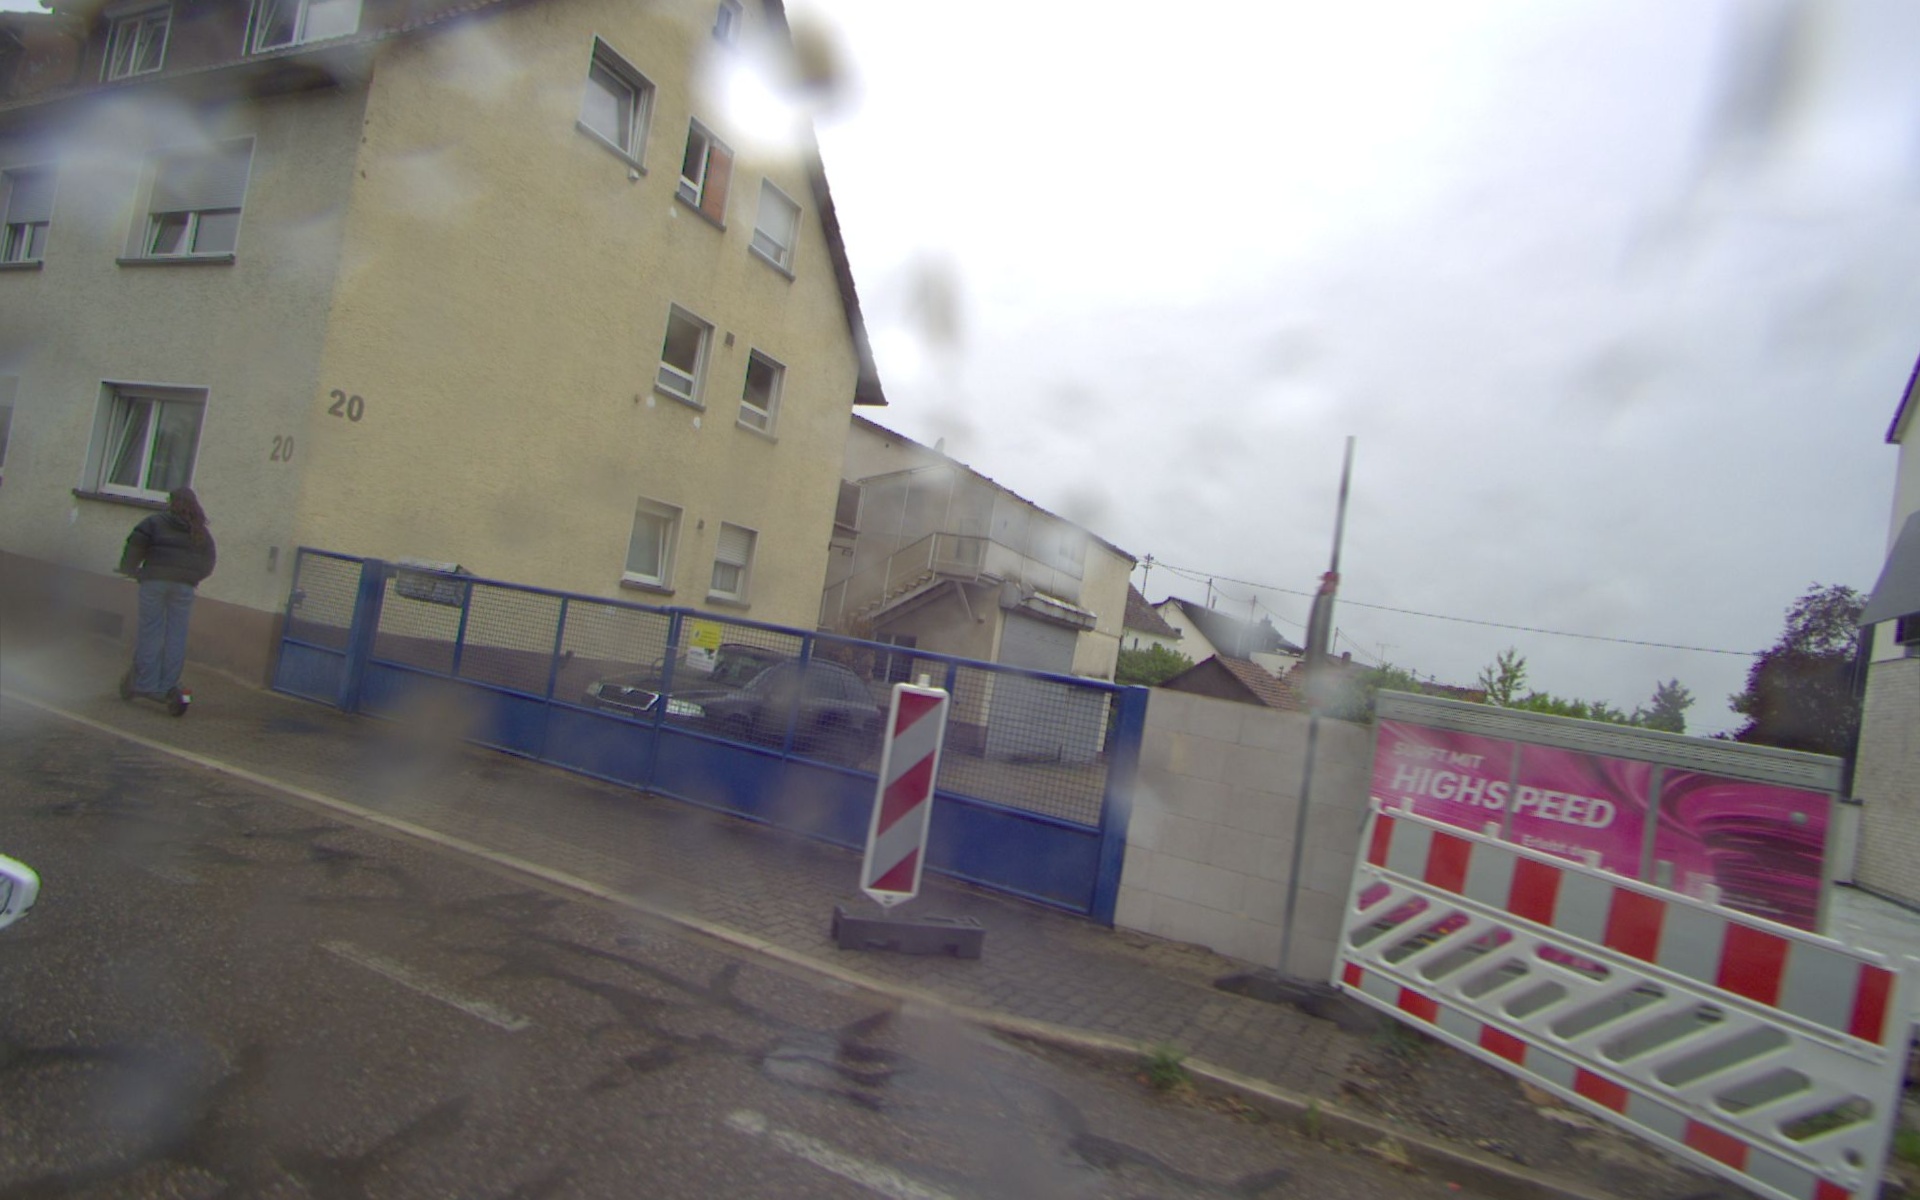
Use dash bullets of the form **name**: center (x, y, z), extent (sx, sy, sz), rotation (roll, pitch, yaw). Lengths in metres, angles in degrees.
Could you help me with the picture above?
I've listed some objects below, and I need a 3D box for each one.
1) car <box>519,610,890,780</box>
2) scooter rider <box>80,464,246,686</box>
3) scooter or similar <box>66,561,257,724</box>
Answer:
- **car**: center (-2.735, 1.240, 11.868), extent (1.878, 1.313, 4.168), rotation (8, -7, 26)
- **scooter rider**: center (-6.774, -0.196, 8.581), extent (0.509, 1.751, 0.733), rotation (7, -3, 28)
- **scooter or similar**: center (-6.802, 0.356, 8.564), extent (1.377, 1.139, 0.623), rotation (8, -3, 28)
